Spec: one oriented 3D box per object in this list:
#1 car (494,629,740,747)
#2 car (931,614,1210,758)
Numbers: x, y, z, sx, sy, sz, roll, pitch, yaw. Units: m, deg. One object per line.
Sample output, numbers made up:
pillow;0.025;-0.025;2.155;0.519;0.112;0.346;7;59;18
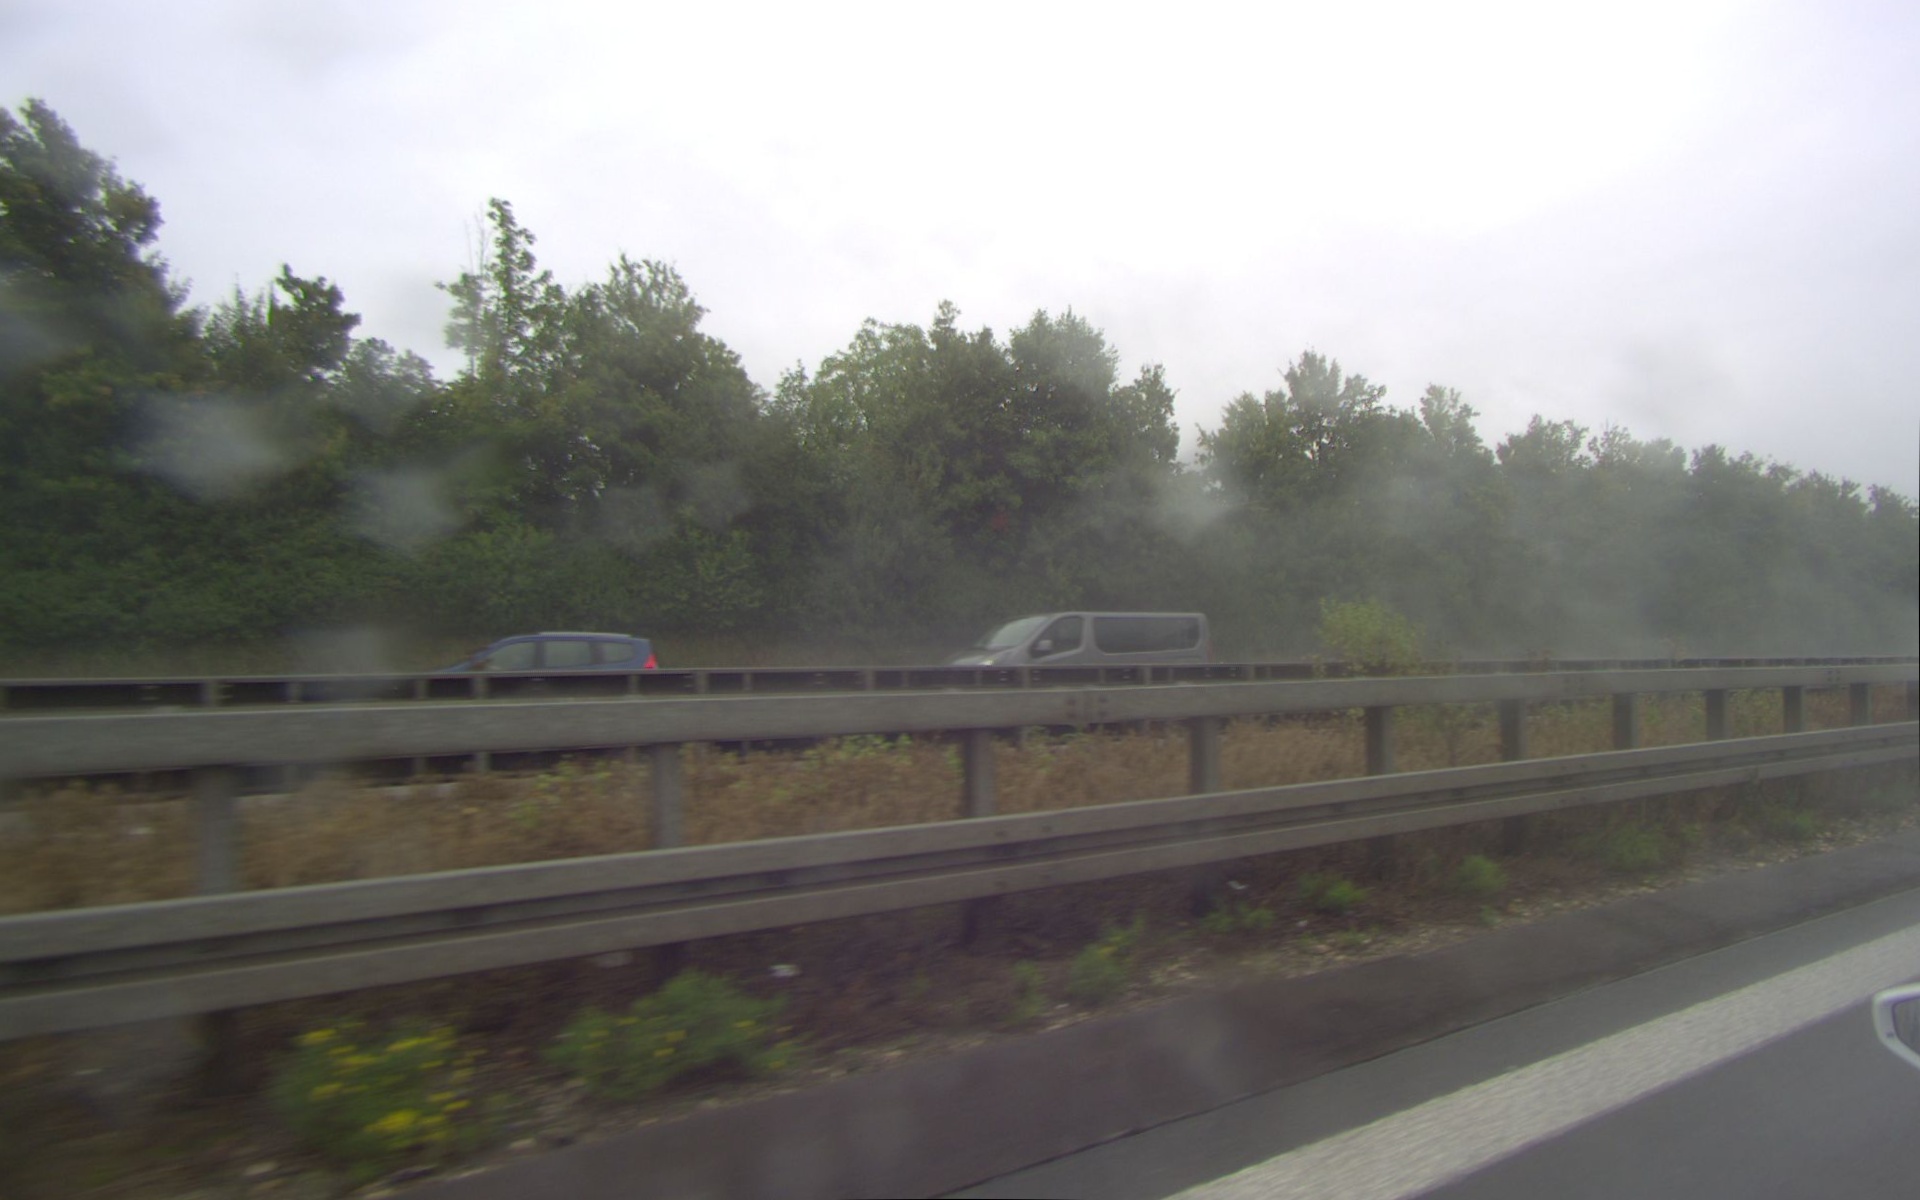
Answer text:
car;-6.151;1.486;18.133;3.954;1.840;1.617;1;0;-31
car;1.992;1.374;17.711;4.612;2.203;2.022;1;0;-31
